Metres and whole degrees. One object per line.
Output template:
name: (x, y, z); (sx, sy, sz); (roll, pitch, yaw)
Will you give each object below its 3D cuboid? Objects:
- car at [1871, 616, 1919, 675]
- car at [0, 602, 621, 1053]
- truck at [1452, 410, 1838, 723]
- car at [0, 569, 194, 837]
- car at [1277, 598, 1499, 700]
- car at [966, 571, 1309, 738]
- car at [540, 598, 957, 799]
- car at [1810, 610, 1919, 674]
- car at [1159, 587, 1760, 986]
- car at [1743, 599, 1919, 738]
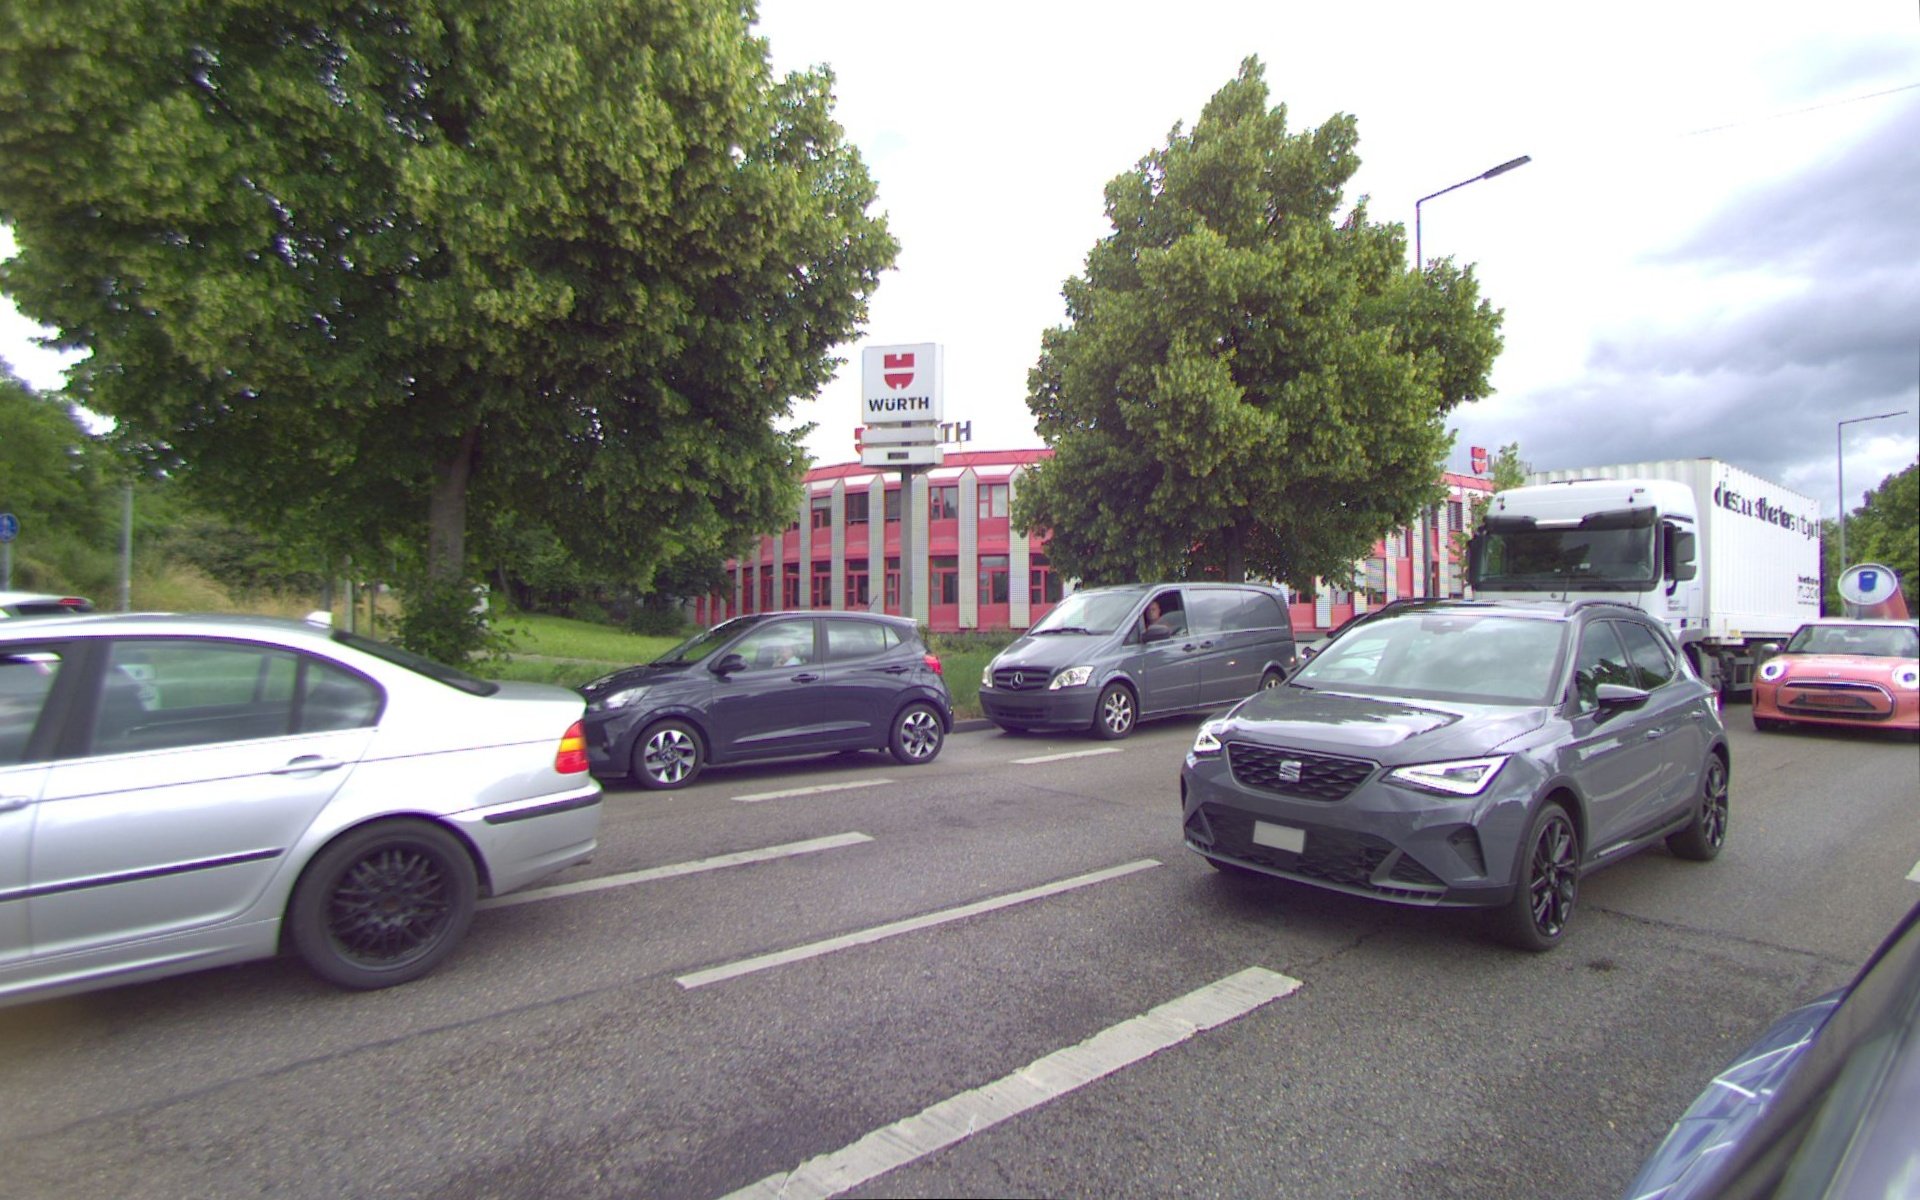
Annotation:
car: (28.364, 1.287, 29.656); (4.141, 1.549, 1.798); (-1, 0, -38)
car: (-3.656, 0.711, 3.751); (4.215, 1.400, 1.749); (0, 0, -41)
truck: (11.989, -0.407, 17.109); (10.000, 3.953, 2.808); (0, 0, -40)
car: (-7.887, 0.654, 6.588); (4.278, 1.676, 1.767); (0, -1, -20)
car: (7.394, 0.797, 17.323); (4.034, 1.536, 1.842); (0, -4, -41)
car: (2.420, 0.652, 13.080); (4.591, 1.798, 1.761); (0, -4, -40)
car: (-1.923, 0.760, 9.509); (3.495, 1.525, 1.608); (-1, 0, -34)
car: (24.034, 1.061, 26.680); (4.299, 1.549, 1.850); (1, -1, -41)
car: (2.973, 0.733, 5.680); (3.768, 1.512, 1.627); (1, -1, -39)
car: (11.454, 0.761, 12.738); (3.431, 1.525, 1.825); (1, 0, -39)
